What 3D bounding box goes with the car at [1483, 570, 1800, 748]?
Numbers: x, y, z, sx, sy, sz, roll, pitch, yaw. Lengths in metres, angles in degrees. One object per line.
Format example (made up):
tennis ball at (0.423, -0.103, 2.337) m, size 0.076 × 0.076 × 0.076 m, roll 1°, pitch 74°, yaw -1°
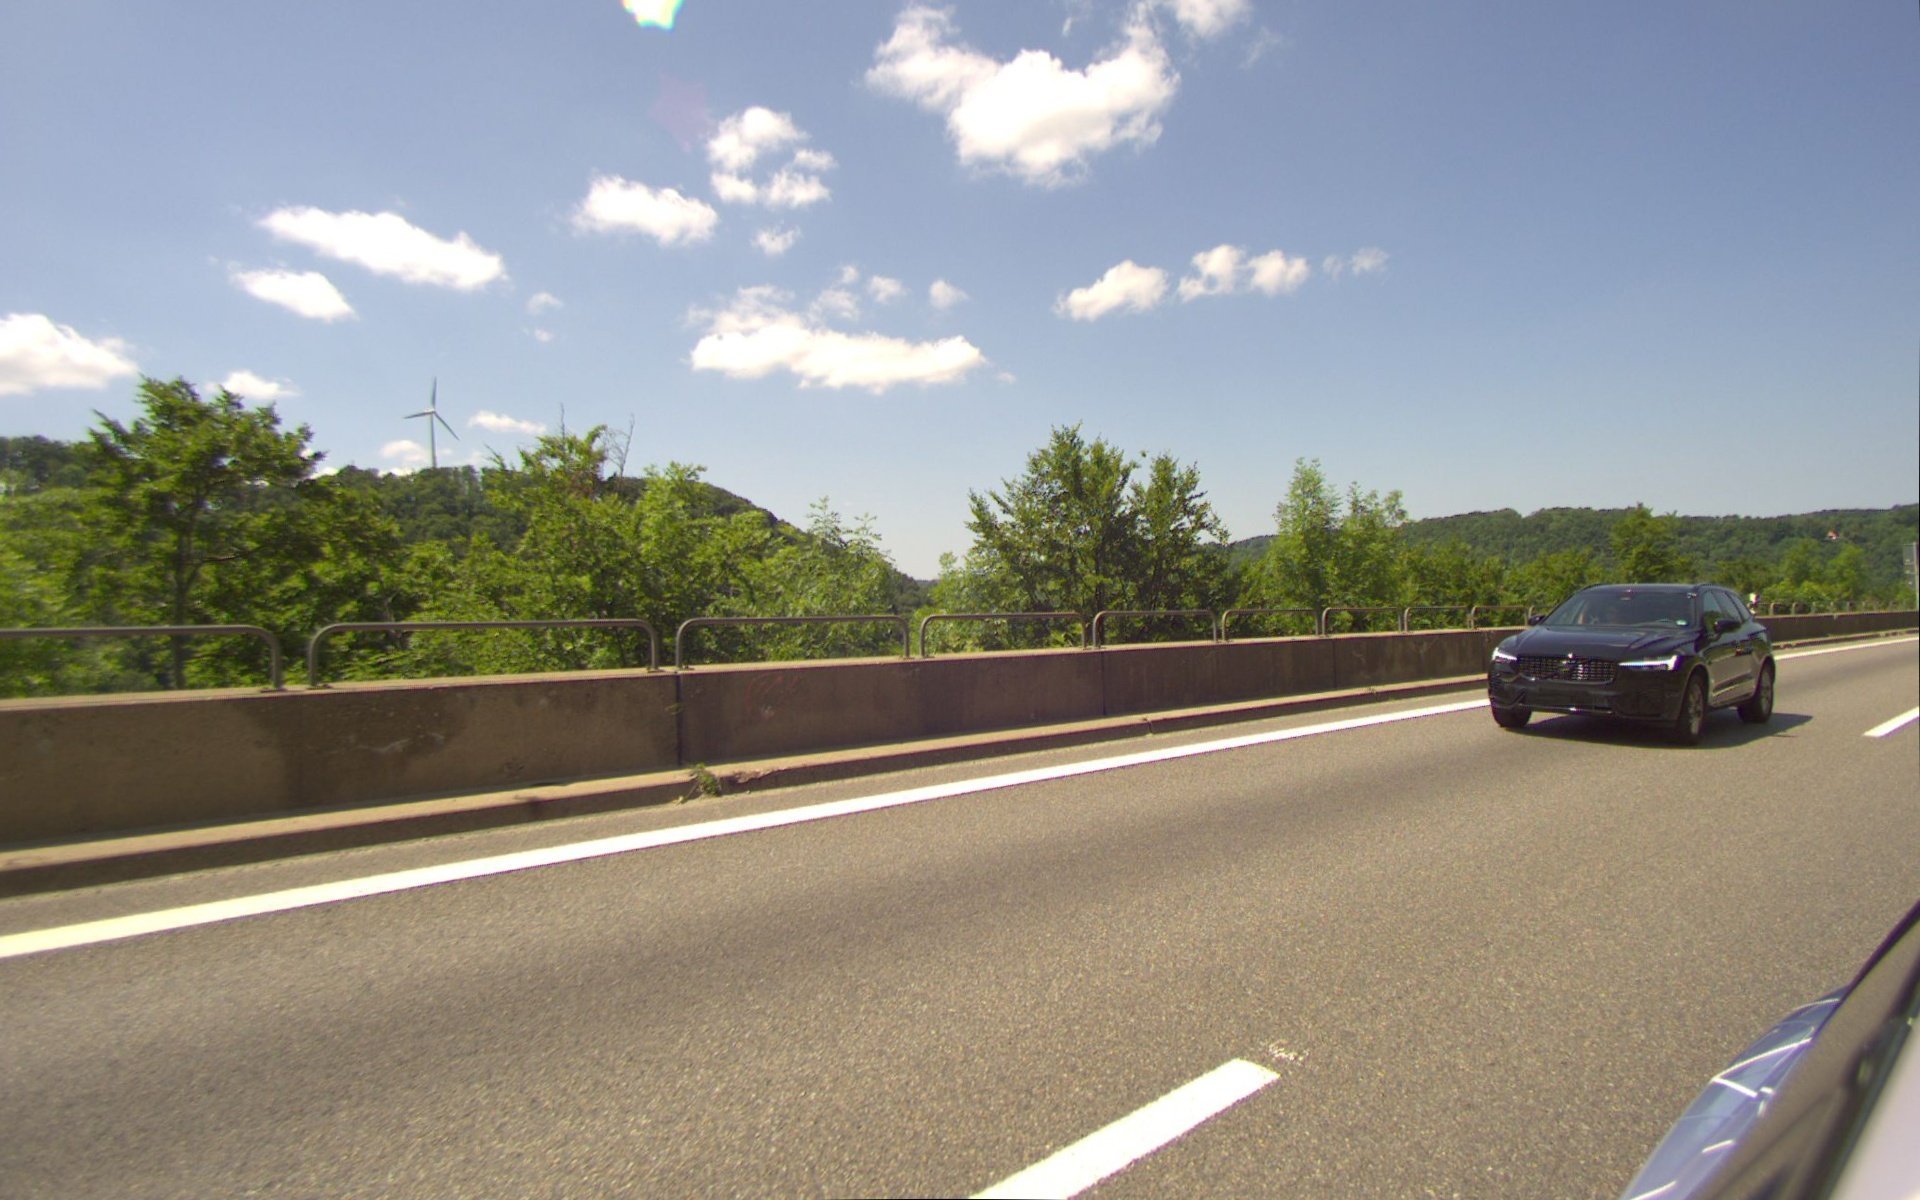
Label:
car at (7.940, 0.526, 11.617) m, size 4.579 × 1.654 × 1.838 m, roll 0°, pitch 1°, yaw -40°
